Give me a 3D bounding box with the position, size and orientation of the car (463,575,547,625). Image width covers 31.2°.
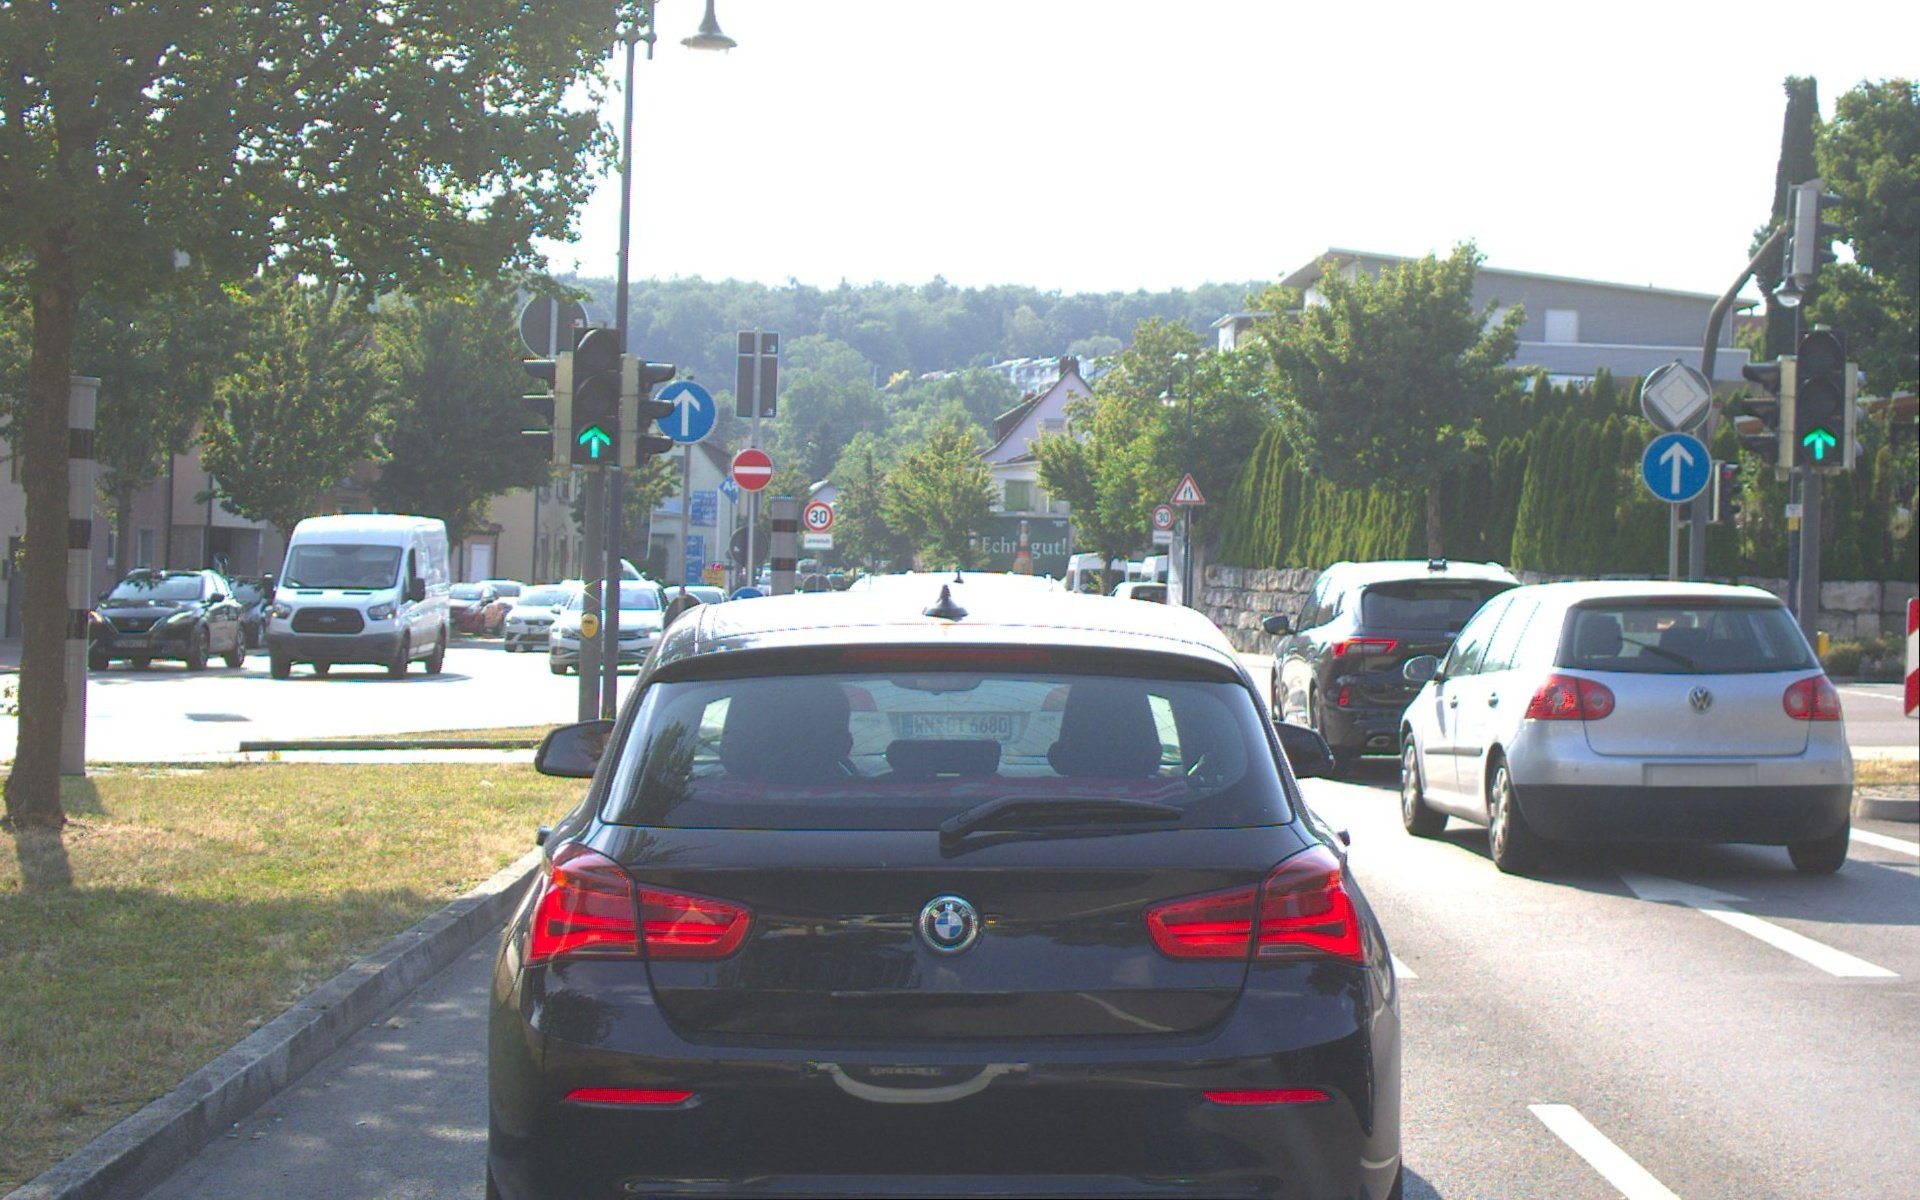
[{"bbox_3d":[-13.538,-0.005,102.419,1.737,1.296,3.799,5,1,2],"label":"car"}]

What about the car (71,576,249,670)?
[{"bbox_3d":[-12.845,0.342,55.415,1.737,1.296,3.799,5,1,2],"label":"car"}]

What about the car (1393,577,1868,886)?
[{"bbox_3d":[3.438,0.614,18.310,1.761,1.421,3.903,-1,1,0],"label":"car"}]

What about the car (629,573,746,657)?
[{"bbox_3d":[-5.056,0.254,64.198,1.839,1.477,4.000,1,1,0],"label":"car"}]

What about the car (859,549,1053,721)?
[{"bbox_3d":[-0.034,0.296,34.237,1.788,1.588,4.281,-1,1,0],"label":"car"}]

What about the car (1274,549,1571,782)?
[{"bbox_3d":[3.496,0.442,26.597,1.761,1.650,3.903,-1,1,0],"label":"car"}]

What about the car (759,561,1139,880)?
[{"bbox_3d":[-0.047,0.550,18.494,1.788,1.488,4.281,-1,1,0],"label":"car"}]

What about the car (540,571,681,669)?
[{"bbox_3d":[-5.555,0.292,55.064,1.839,1.477,4.000,1,1,0],"label":"car"}]

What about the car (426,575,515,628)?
[{"bbox_3d":[-13.787,0.028,96.997,1.737,1.296,3.799,5,1,2],"label":"car"}]

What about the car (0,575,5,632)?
[{"bbox_3d":[-12.374,0.288,39.085,1.737,1.296,3.799,5,1,2],"label":"car"}]

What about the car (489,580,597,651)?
[{"bbox_3d":[-9.051,0.317,74.954,1.839,1.477,4.000,1,1,0],"label":"car"}]

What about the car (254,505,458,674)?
[{"bbox_3d":[-9.096,-0.165,52.257,2.084,2.385,5.528,1,0,0],"label":"car"}]

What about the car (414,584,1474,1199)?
[{"bbox_3d":[-0.021,0.688,7.977,1.788,1.393,4.281,-1,1,0],"label":"car"}]
